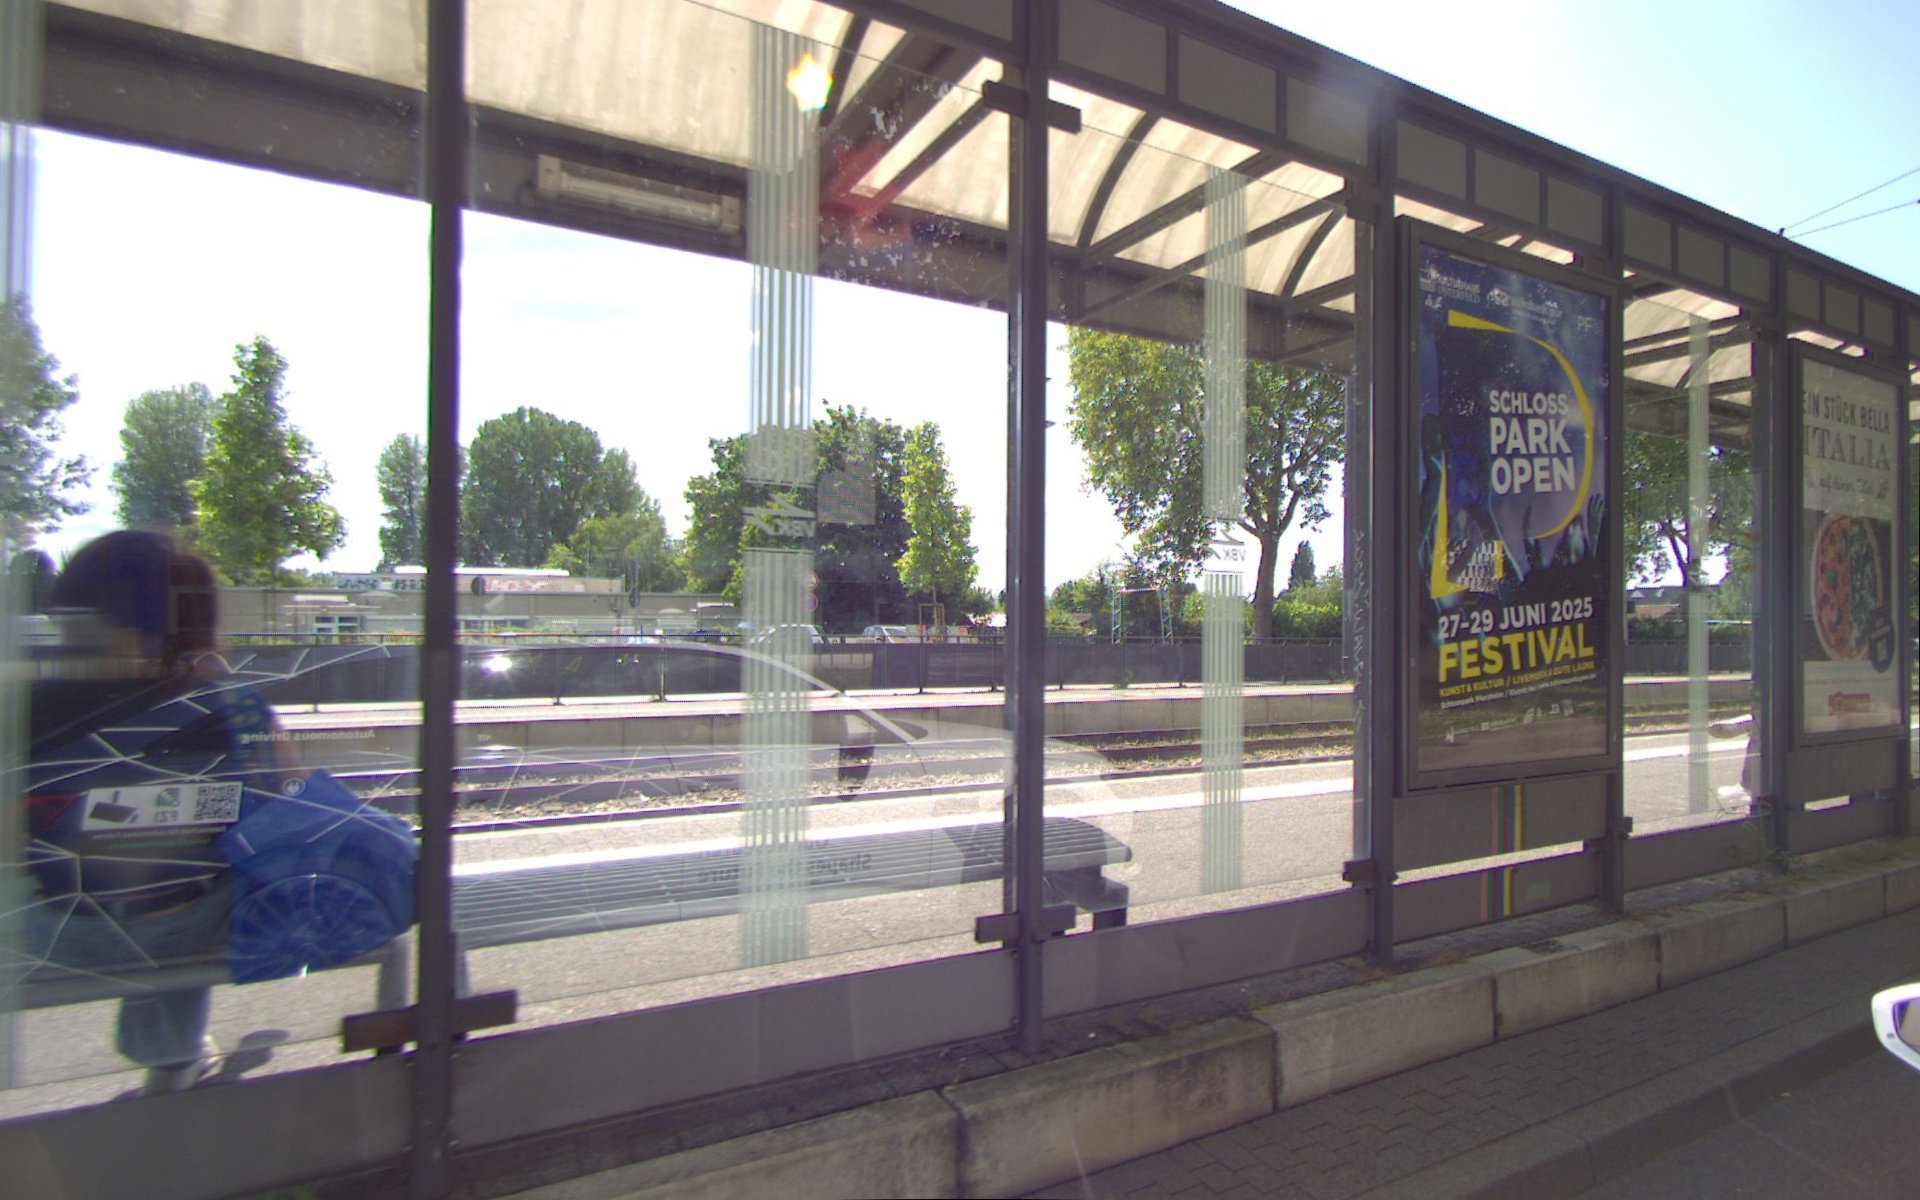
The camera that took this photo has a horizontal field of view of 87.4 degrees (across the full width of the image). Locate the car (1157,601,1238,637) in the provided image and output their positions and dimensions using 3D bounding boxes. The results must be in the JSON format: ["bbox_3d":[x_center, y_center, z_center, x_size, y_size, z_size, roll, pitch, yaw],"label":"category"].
[{"bbox_3d":[11.626,0.877,49.391,1.885,1.684,3.901,0,0,-26],"label":"car"}]

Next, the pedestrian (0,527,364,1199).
[{"bbox_3d":[-1.608,0.481,2.037,0.634,1.206,0.690,1,1,-28],"label":"pedestrian"}]

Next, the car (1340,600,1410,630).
[{"bbox_3d":[24.654,0.867,59.626,3.881,1.684,1.895,0,0,-30],"label":"car"}]

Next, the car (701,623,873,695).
[{"bbox_3d":[-4.292,1.404,24.921,3.944,1.606,1.704,0,0,-24],"label":"car"}]

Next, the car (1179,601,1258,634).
[{"bbox_3d":[13.370,0.874,52.096,1.885,1.684,3.901,0,0,-26],"label":"car"}]
